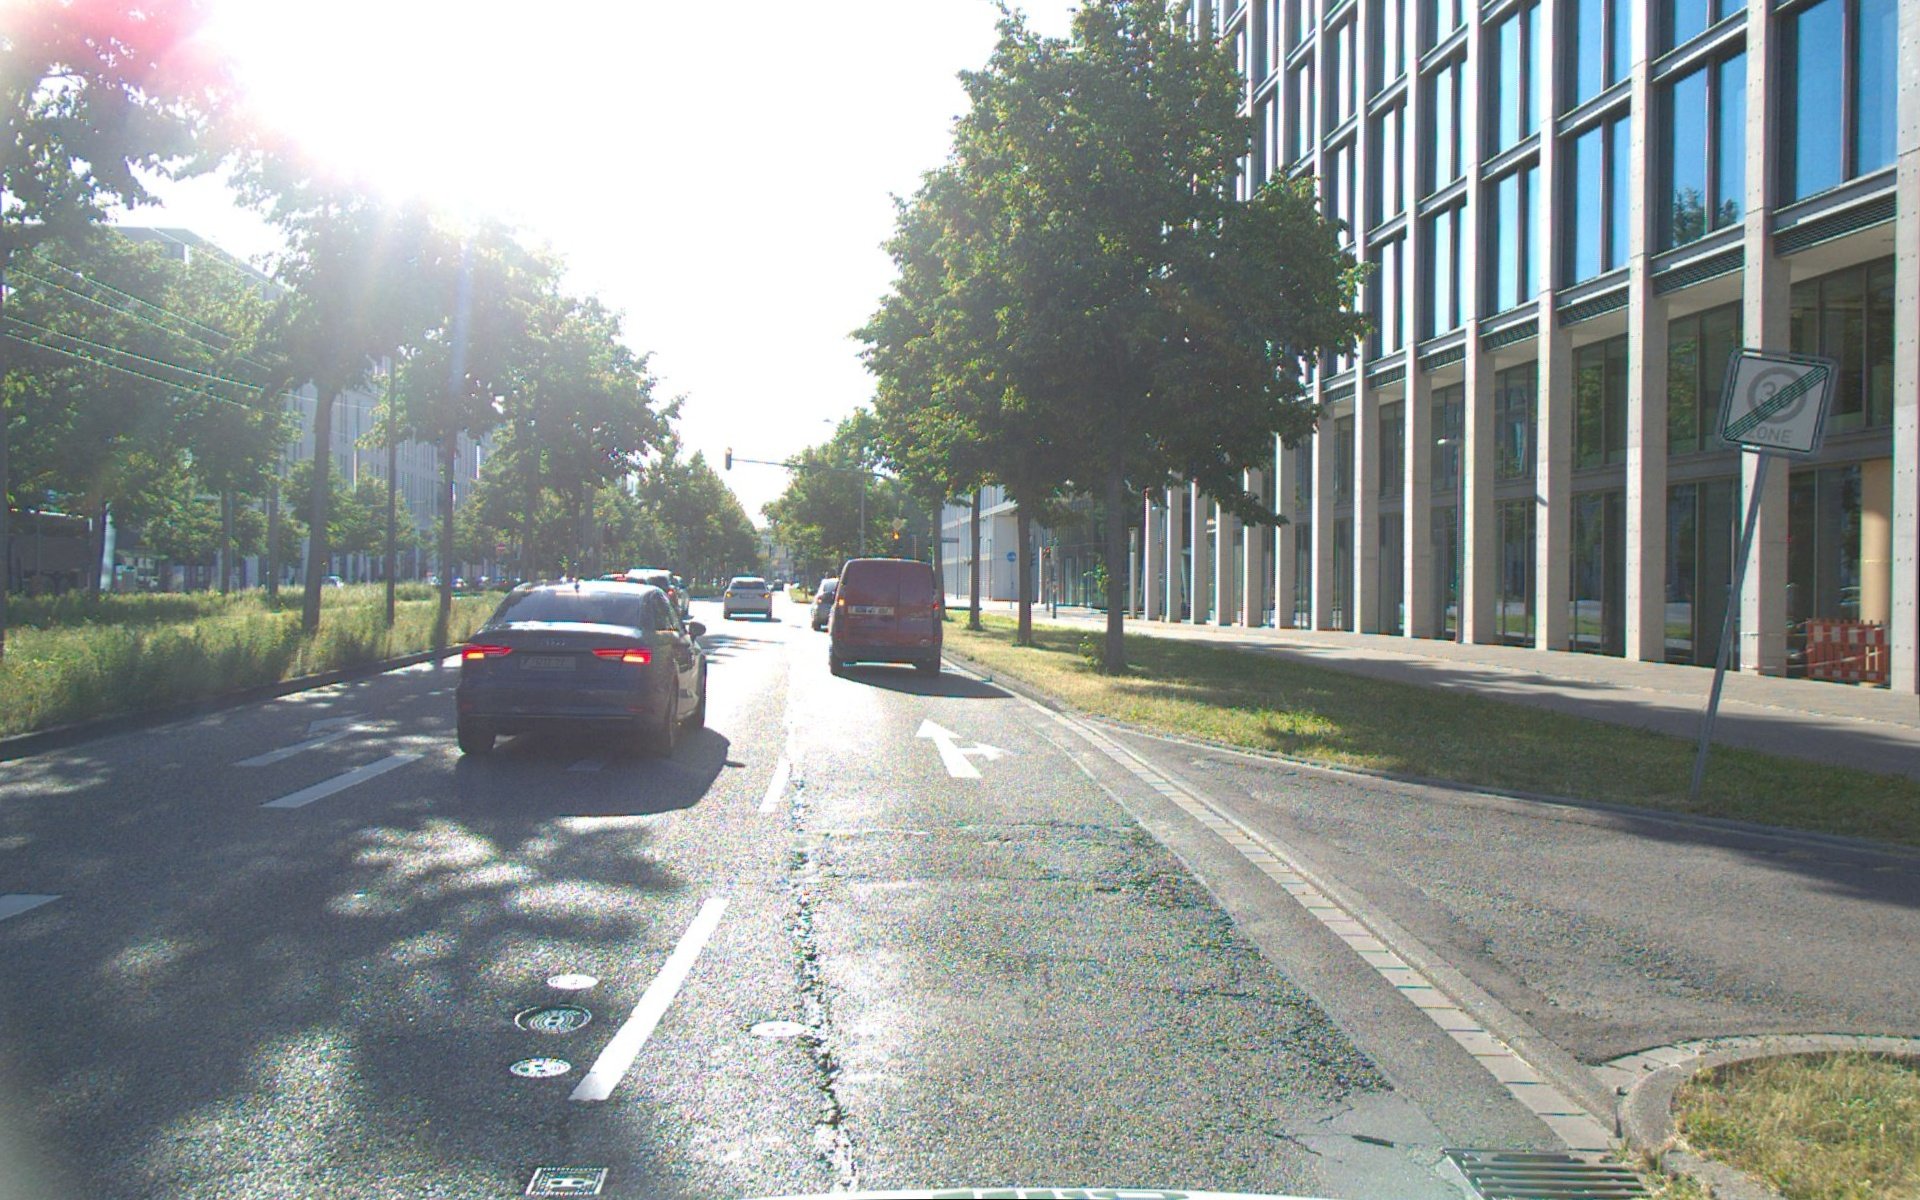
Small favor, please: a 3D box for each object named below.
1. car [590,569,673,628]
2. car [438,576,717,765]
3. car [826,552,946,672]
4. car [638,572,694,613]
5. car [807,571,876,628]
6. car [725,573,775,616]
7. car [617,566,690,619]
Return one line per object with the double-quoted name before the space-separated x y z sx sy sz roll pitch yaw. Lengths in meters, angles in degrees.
"car" -8.637 -0.062 43.736 1.906 1.466 3.993 0 1 -8
"car" -3.194 0.507 14.585 1.687 1.390 4.143 2 1 -3
"car" -1.288 0.212 27.080 1.763 1.808 3.995 0 -1 -5
"car" -10.541 -0.291 59.532 1.682 1.422 3.995 1 1 -6
"car" -3.467 -0.057 47.904 1.689 1.450 3.810 2 2 -8
"car" -7.469 -0.212 58.991 1.688 1.450 3.811 0 1 -6
"car" -9.472 -0.242 51.360 1.807 1.561 3.936 1 1 -5
